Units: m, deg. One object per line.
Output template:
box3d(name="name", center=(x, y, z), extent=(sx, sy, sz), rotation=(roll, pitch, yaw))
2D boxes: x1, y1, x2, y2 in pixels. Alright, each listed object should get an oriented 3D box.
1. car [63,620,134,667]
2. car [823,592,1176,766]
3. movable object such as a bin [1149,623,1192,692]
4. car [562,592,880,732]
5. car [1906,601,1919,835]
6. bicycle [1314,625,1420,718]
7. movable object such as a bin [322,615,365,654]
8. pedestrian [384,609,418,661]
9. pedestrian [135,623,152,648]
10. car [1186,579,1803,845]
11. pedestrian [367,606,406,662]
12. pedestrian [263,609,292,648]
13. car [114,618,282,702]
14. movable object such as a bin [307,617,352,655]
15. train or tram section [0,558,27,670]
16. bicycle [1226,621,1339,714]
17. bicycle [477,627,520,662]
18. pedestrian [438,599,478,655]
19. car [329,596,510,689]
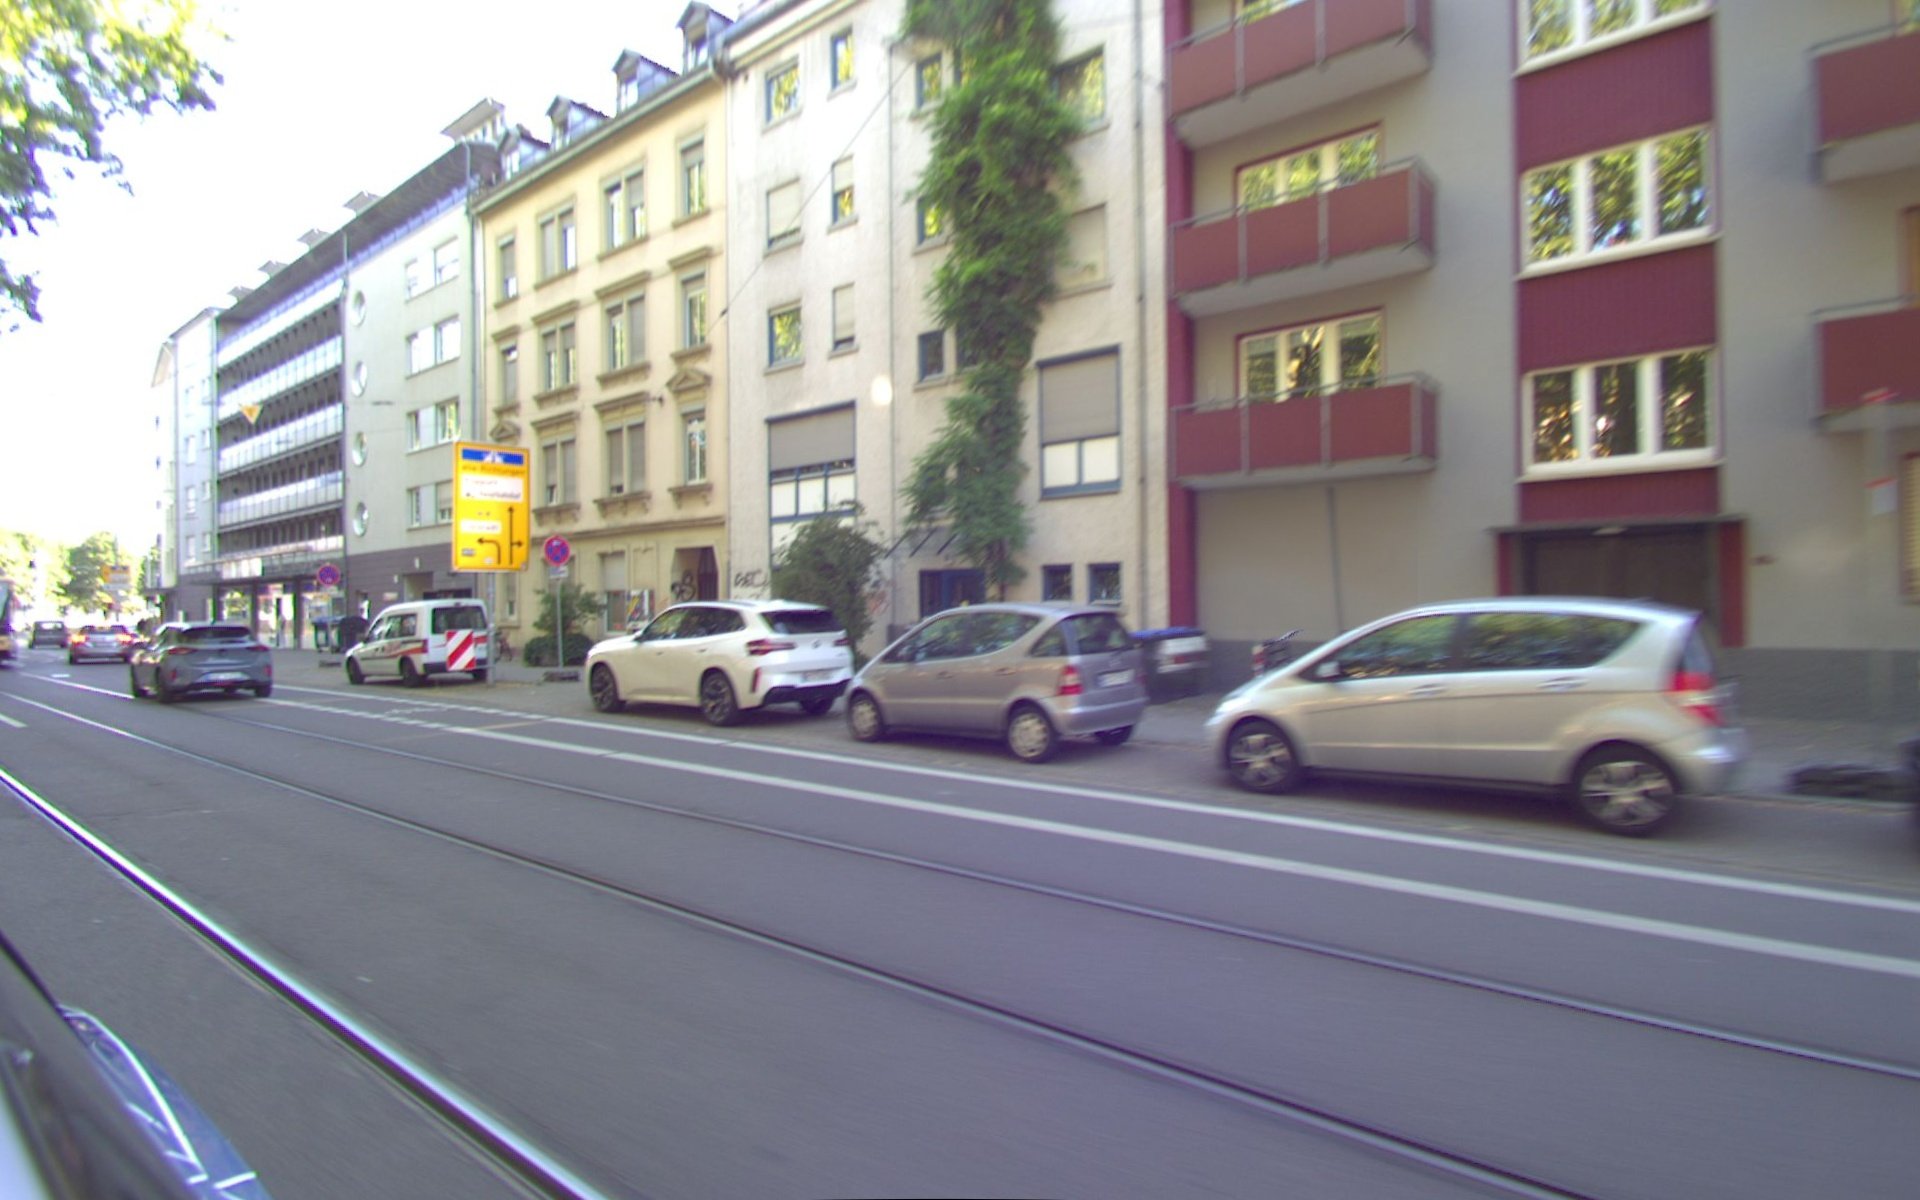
box3d(name="car", center=(-31.067, 1.498, 36.447), extent=(1.774, 1.456, 4.722), rotation=(1, 0, -43))
box3d(name="car", center=(0.328, 0.752, 11.324), extent=(3.780, 1.583, 1.609), rotation=(-1, 1, 42))
box3d(name="movable object such as a bin", center=(3.324, 0.898, 15.966), extent=(0.492, 1.063, 0.456), rotation=(-2, -1, 40))
box3d(name="car", center=(-3.607, 0.780, 14.715), extent=(4.877, 1.661, 1.933), rotation=(-1, 1, 40))
box3d(name="car", center=(7.766, 0.718, 4.676), extent=(4.861, 1.405, 1.932), rotation=(-1, 2, 42))
box3d(name="bicycle", center=(5.380, 0.889, 13.281), extent=(0.698, 1.000, 2.268), rotation=(-1, 1, 37))
box3d(name="movable object such as a bin", center=(-23.785, 1.340, 39.048), extent=(1.208, 1.461, 1.047), rotation=(-1, -1, 36))
box3d(name="pedestrian", center=(-18.089, 1.122, 32.749), extent=(0.686, 1.645, 0.720), rotation=(-1, 1, 39))
box3d(name="pedestrian", center=(-54.710, 2.363, 67.842), extent=(0.705, 1.686, 0.907), rotation=(0, -1, -26))
box3d(name="car", center=(4.052, 0.696, 8.065), extent=(4.000, 1.599, 1.802), rotation=(-1, 0, 39))
box3d(name="pedestrian", center=(-19.117, 1.120, 33.727), extent=(0.735, 1.798, 0.856), rotation=(-1, 1, 39))
box3d(name="pedestrian", center=(-30.890, 1.287, 45.806), extent=(0.819, 1.726, 0.779), rotation=(-1, 2, 40))
box3d(name="car", center=(-14.755, 1.093, 19.516), extent=(4.050, 1.457, 1.777), rotation=(-1, -2, 41))
box3d(name="movable object such as a bin", center=(-24.781, 1.415, 39.772), extent=(1.212, 1.461, 1.129), rotation=(-1, -1, 36))
box3d(name="train or tram section", center=(-35.876, 0.567, 35.608), extent=(14.188, 3.512, 2.879), rotation=(-1, -1, 41))
box3d(name="bicycle", center=(4.511, 0.886, 14.035), extent=(0.698, 1.070, 2.428), rotation=(-1, 1, 37))
box3d(name="bicycle", center=(-13.780, 1.308, 30.195), extent=(0.639, 0.978, 2.142), rotation=(-2, 0, -39))
box3d(name="pedestrian", center=(-17.068, 0.911, 34.437), extent=(0.729, 1.827, 0.953), rotation=(-1, 1, 41))
box3d(name="car", center=(-11.867, 0.890, 22.100), extent=(4.464, 1.784, 1.772), rotation=(-2, 0, 38))
